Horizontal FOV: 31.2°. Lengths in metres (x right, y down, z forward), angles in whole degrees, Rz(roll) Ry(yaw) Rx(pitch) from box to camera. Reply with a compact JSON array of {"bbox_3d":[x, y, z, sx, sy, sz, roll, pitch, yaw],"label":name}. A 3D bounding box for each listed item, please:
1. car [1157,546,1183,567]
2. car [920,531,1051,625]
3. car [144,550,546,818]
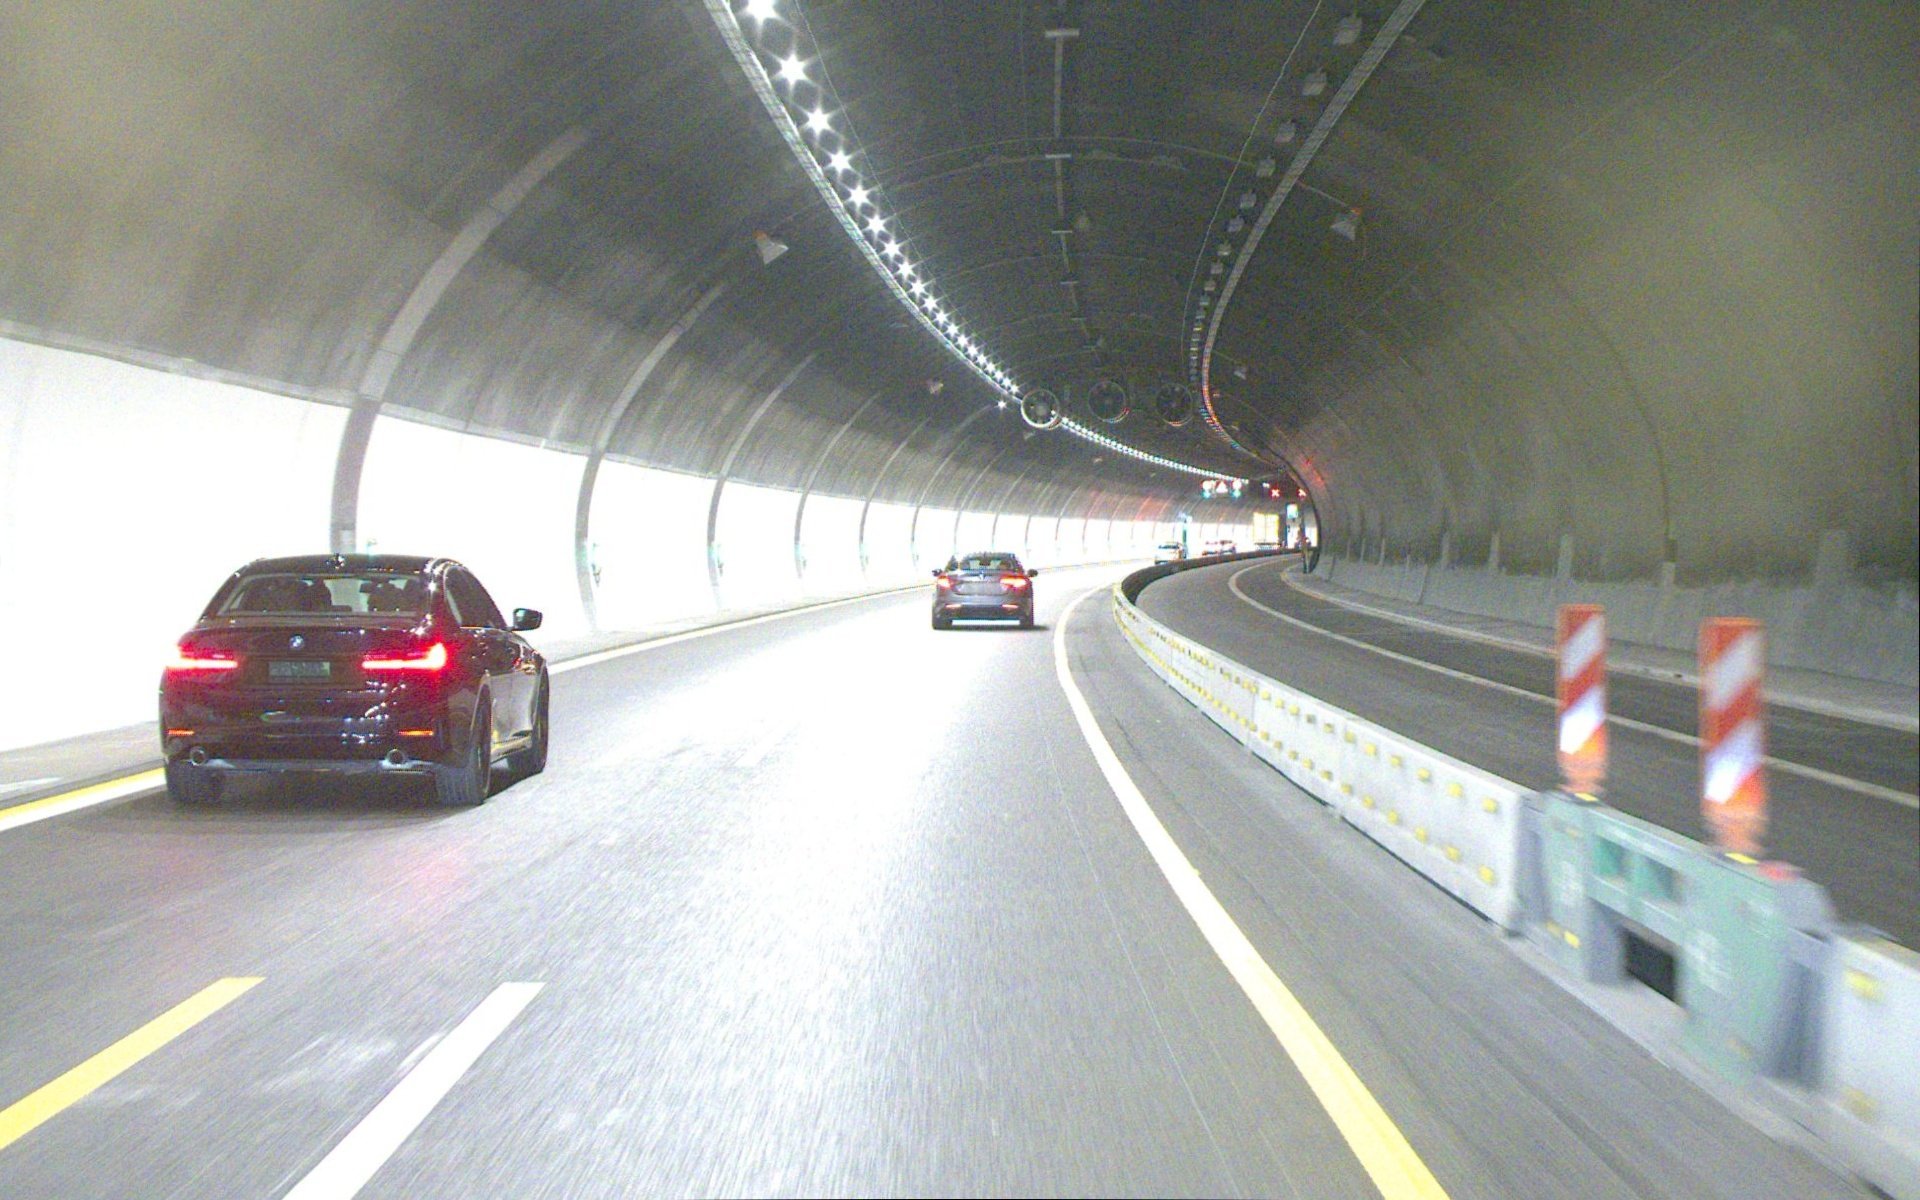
[{"bbox_3d":[13.695,-2.864,224.285,1.595,1.328,3.750,0,1,3],"label":"car"},{"bbox_3d":[0.513,-0.437,64.273,2.141,1.700,3.999,0,1,5],"label":"car"},{"bbox_3d":[-3.670,0.427,21.304,1.778,1.433,4.883,0,1,-2],"label":"car"}]
